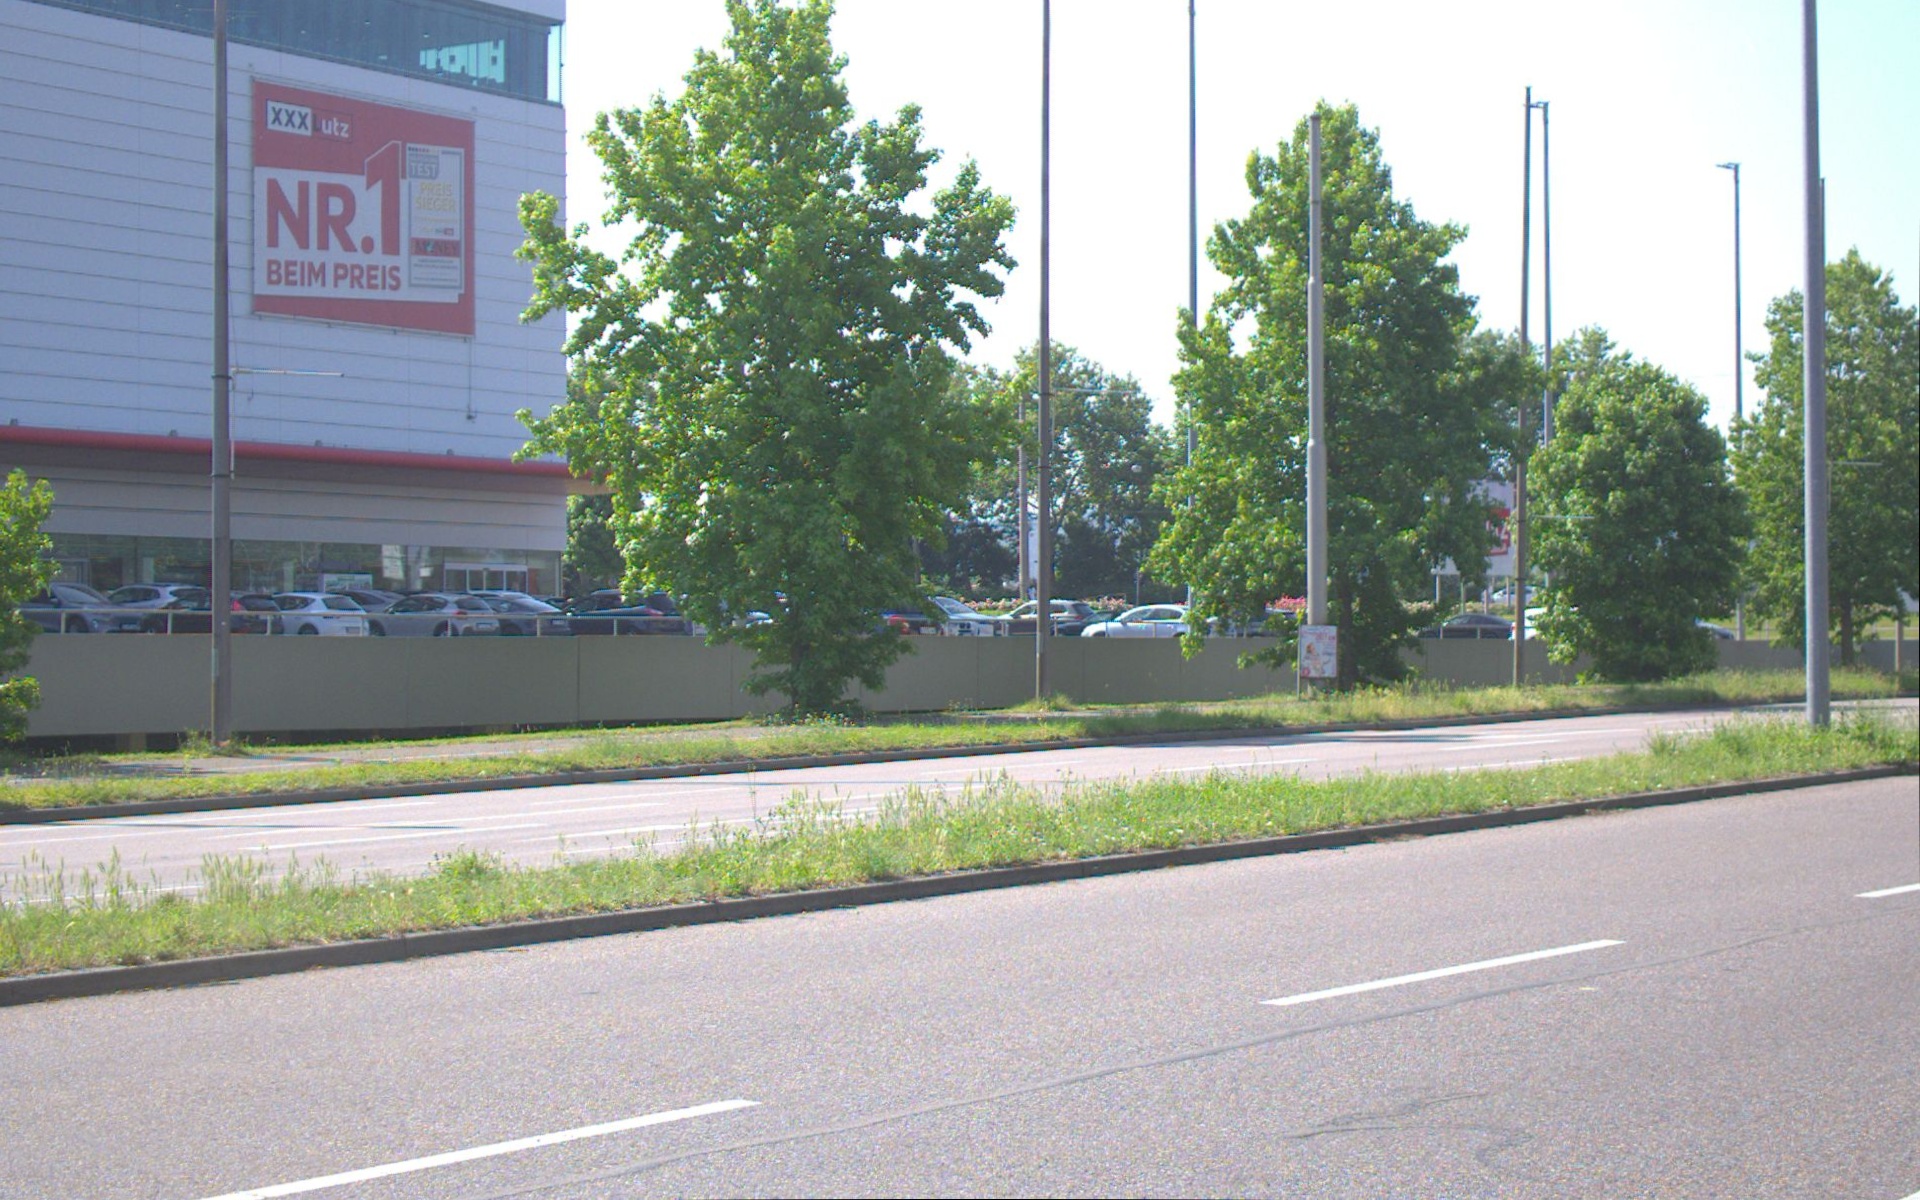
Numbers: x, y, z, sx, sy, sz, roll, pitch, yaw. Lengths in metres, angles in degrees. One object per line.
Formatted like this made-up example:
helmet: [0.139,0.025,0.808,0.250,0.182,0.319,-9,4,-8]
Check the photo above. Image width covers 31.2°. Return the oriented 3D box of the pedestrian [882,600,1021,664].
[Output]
pedestrian: [-0.266,1.052,110.612,3.986,2.007,2.000,1,-1,-26]

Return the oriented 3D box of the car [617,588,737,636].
car: [-8.063,0.344,97.862,3.093,1.325,1.513,0,-1,32]

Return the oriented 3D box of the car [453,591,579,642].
car: [-11.888,0.446,92.067,3.093,1.325,1.513,0,-1,32]

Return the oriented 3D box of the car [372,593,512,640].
car: [-13.567,0.433,89.939,3.505,1.195,1.478,0,-1,32]

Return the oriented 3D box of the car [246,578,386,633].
car: [-16.081,0.155,85.853,3.093,1.325,1.701,0,-1,32]

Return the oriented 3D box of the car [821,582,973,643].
car: [-1.120,0.226,61.034,2.517,1.056,1.069,0,-1,31]

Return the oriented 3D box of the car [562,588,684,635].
car: [-9.388,0.330,95.740,3.093,1.289,1.513,0,-1,33]

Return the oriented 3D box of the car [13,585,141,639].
car: [-22.219,0.301,86.499,3.140,1.325,1.299,0,-1,32]

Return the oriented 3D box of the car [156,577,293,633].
car: [-17.933,0.142,83.791,3.093,1.325,1.513,0,-1,32]

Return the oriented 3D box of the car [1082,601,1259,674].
car: [6.085,1.081,99.591,4.677,2.007,2.026,-1,0,30]

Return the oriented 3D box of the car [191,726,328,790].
car: [-11.262,2.535,55.289,1.940,0.972,1.069,0,-1,31]

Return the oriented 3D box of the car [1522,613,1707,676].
car: [17.308,1.182,90.934,4.420,1.622,1.868,-1,-1,31]

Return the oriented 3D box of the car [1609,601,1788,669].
car: [20.343,0.976,94.797,4.420,1.836,1.942,-1,-1,33]
